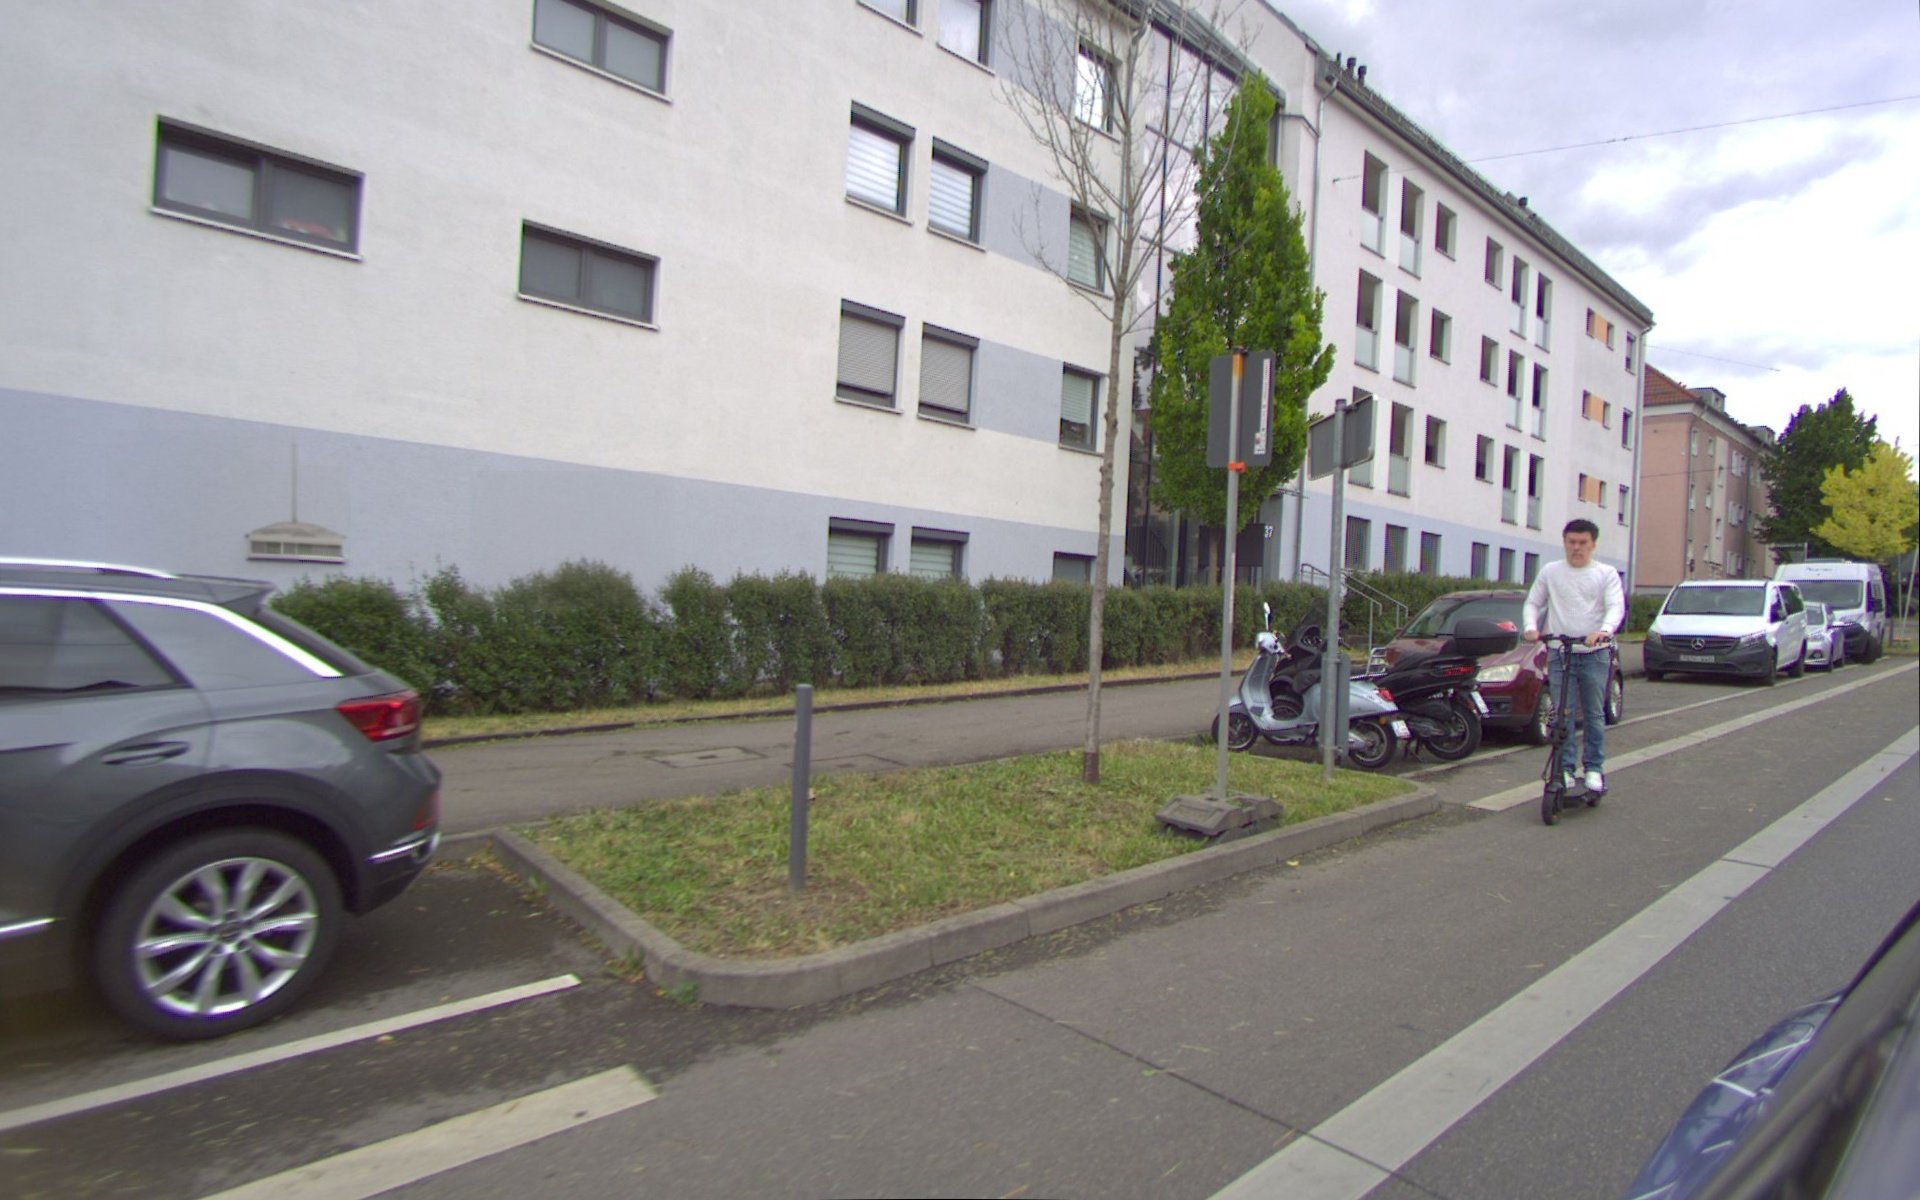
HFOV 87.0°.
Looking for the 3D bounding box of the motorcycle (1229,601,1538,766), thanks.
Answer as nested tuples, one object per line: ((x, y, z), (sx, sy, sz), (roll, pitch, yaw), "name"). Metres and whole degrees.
((3.891, 0.687, 9.544), (0.741, 1.295, 2.599), (1, 1, -44), "motorcycle")

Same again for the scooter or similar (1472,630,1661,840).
((4.131, 0.820, 6.817), (2.039, 1.178, 0.491), (1, 1, -42), "scooter or similar")

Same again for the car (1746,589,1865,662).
((18.788, 0.526, 22.441), (3.662, 1.504, 1.527), (0, 0, -42), "car")

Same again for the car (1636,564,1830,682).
((14.866, 0.367, 19.332), (5.121, 1.968, 1.997), (0, 1, -42), "car")

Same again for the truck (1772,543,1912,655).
((22.812, -0.031, 26.091), (5.592, 2.598, 2.055), (1, 1, -42), "truck")

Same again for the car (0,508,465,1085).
((-3.967, 0.561, 2.909), (4.284, 1.671, 1.633), (0, 0, -45), "car")

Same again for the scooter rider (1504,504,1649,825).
((4.210, 0.405, 6.907), (0.744, 2.039, 0.626), (1, 0, -42), "scooter rider")

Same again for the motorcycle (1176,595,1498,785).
((3.200, 0.682, 8.882), (0.681, 1.398, 2.599), (1, 1, -44), "motorcycle")

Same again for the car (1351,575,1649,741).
((6.296, 0.539, 11.575), (4.264, 1.564, 1.683), (0, 1, -42), "car")
